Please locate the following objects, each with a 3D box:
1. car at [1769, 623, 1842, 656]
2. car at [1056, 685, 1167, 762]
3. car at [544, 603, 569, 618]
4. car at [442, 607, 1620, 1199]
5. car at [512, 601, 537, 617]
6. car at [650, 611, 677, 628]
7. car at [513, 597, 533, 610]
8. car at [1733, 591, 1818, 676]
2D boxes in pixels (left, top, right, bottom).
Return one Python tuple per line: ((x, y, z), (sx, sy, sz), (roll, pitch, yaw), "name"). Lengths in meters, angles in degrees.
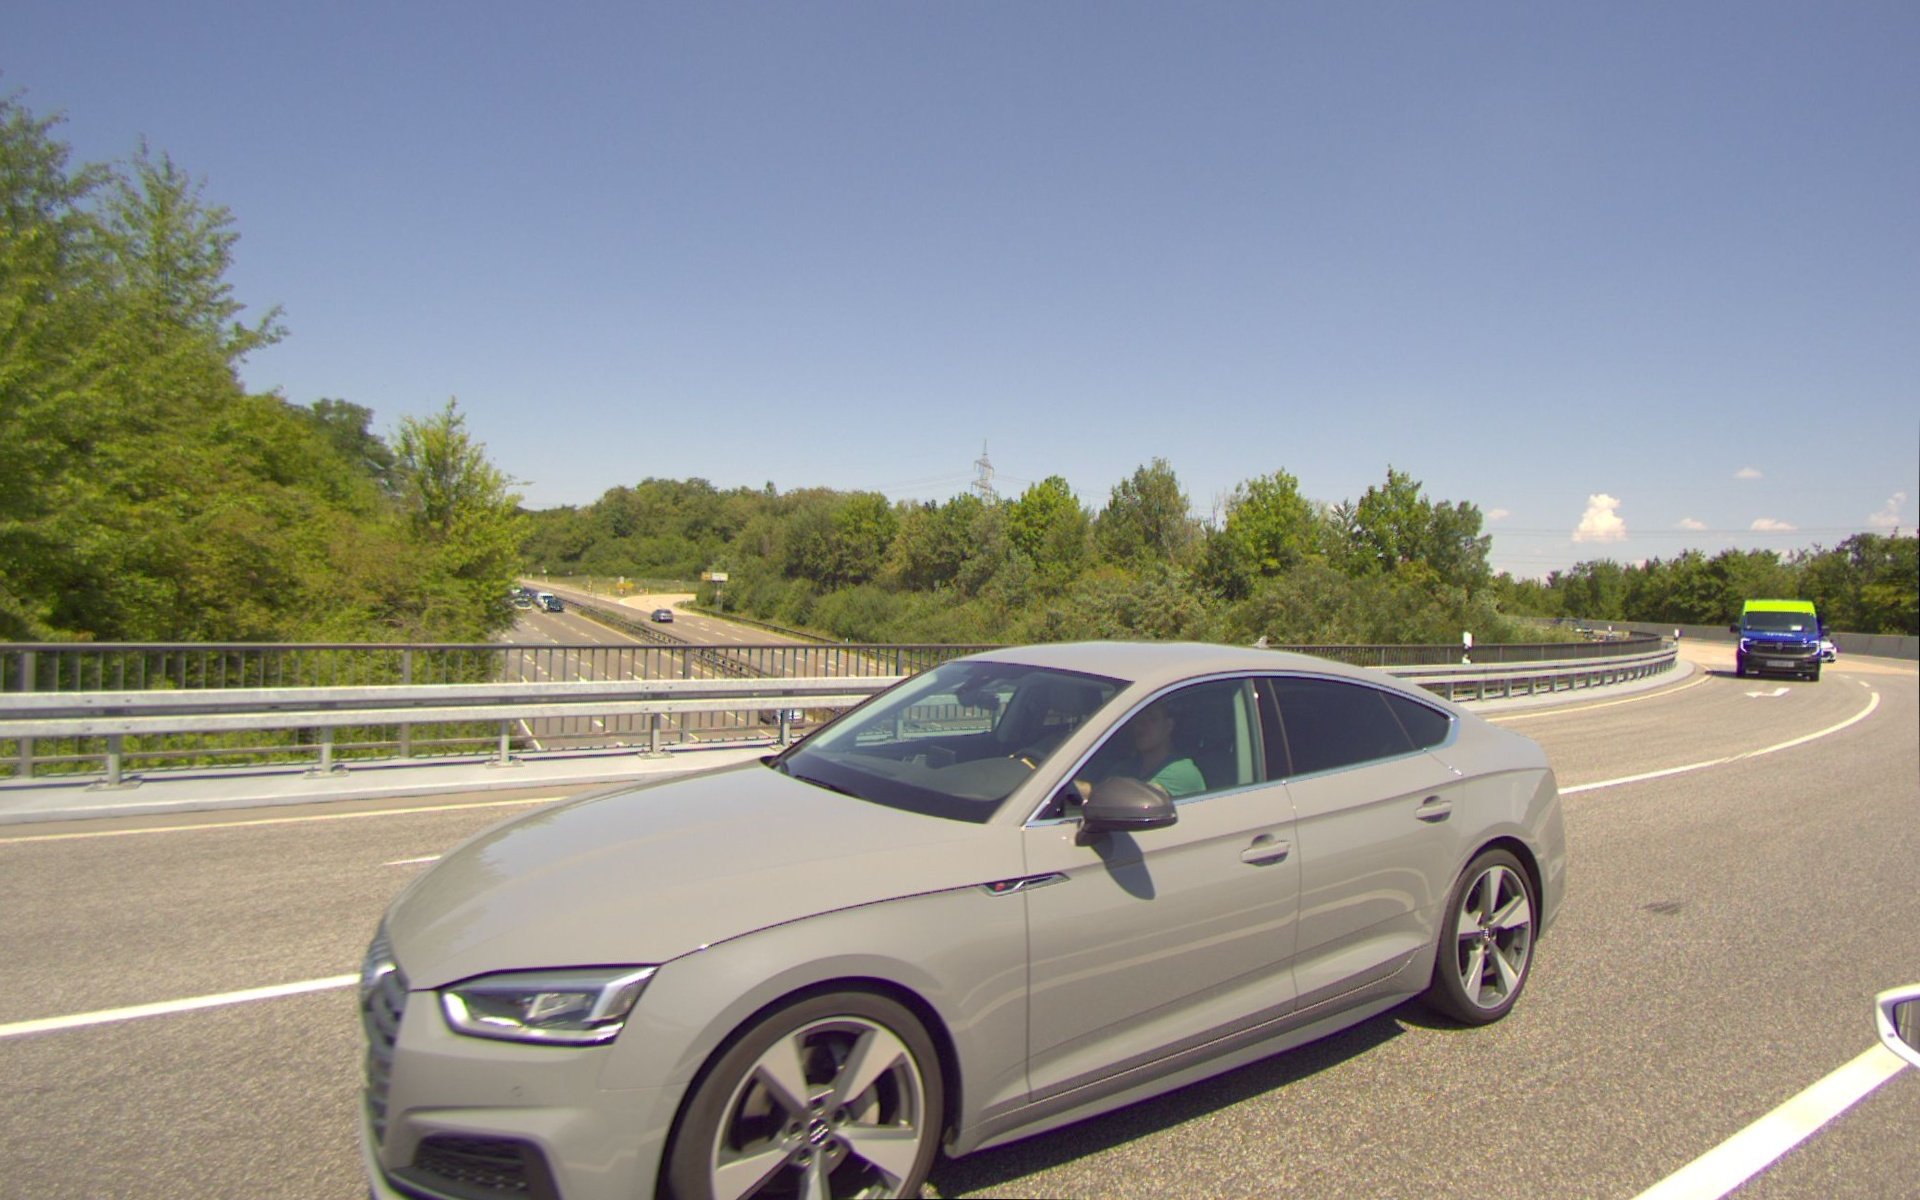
((39.992, 1.863, 47.612), (1.716, 1.478, 4.361), (0, -2, 27), "car")
((7.665, 6.207, 51.432), (2.602, 2.961, 5.443), (2, 3, -32), "car")
((-49.411, 1.274, 122.911), (1.979, 1.662, 3.962), (2, 1, -34), "car")
((0.541, 0.786, 3.773), (4.238, 1.403, 1.768), (2, -1, -34), "car")
((-52.345, 1.079, 120.676), (1.979, 1.662, 3.962), (2, 1, -34), "car")
((-34.850, 2.317, 117.939), (1.978, 1.617, 3.964), (1, 4, -32), "car")
((-61.804, 0.462, 142.064), (1.979, 1.662, 3.962), (2, 1, -34), "car")
((26.271, 1.017, 32.502), (1.968, 2.517, 5.459), (0, -1, 37), "car")
